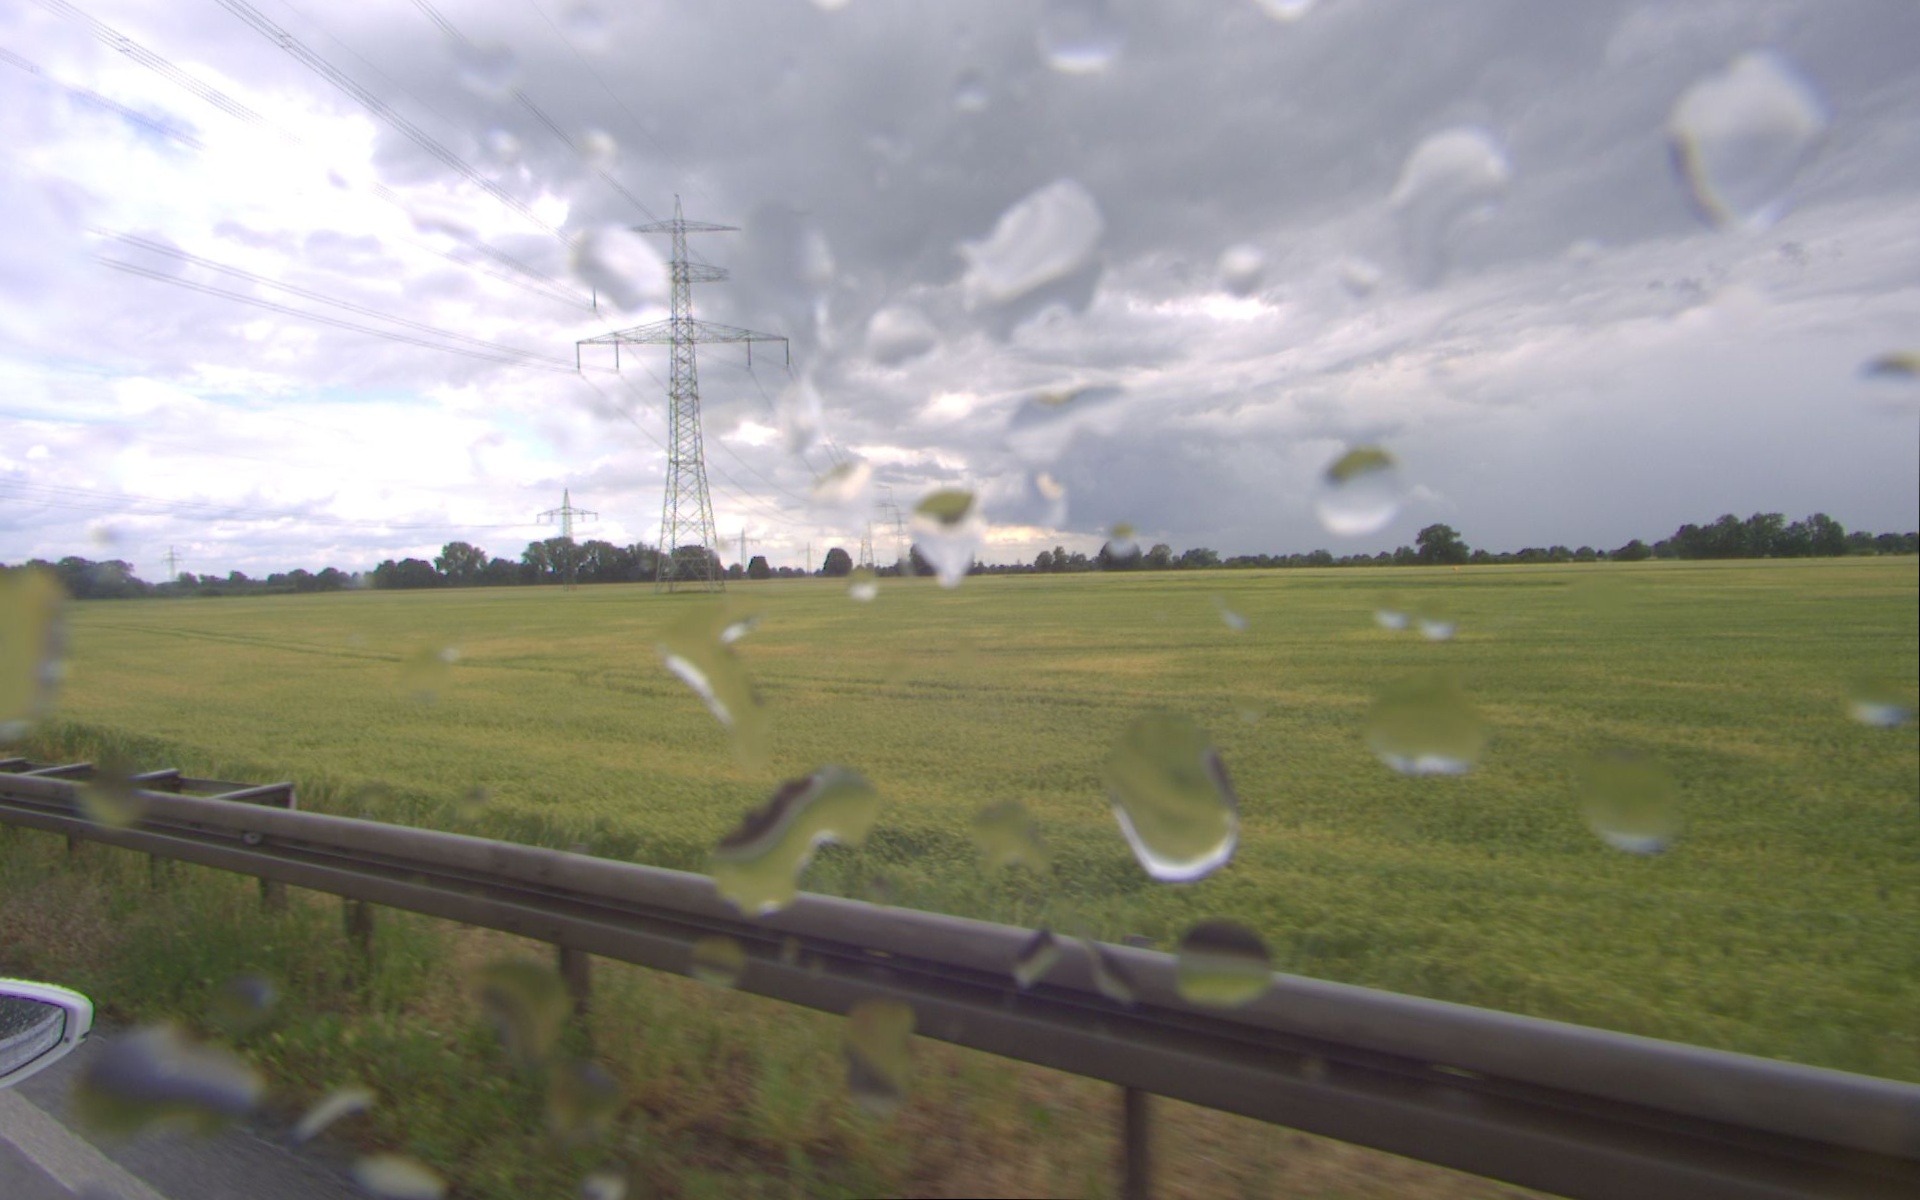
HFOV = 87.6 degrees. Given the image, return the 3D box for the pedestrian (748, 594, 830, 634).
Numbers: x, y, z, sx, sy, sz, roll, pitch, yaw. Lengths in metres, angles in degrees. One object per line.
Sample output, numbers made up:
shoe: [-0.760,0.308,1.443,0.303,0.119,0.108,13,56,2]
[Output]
pedestrian: [-9.085,0.787,53.297,3.939,2.039,1.992,-1,-2,29]
